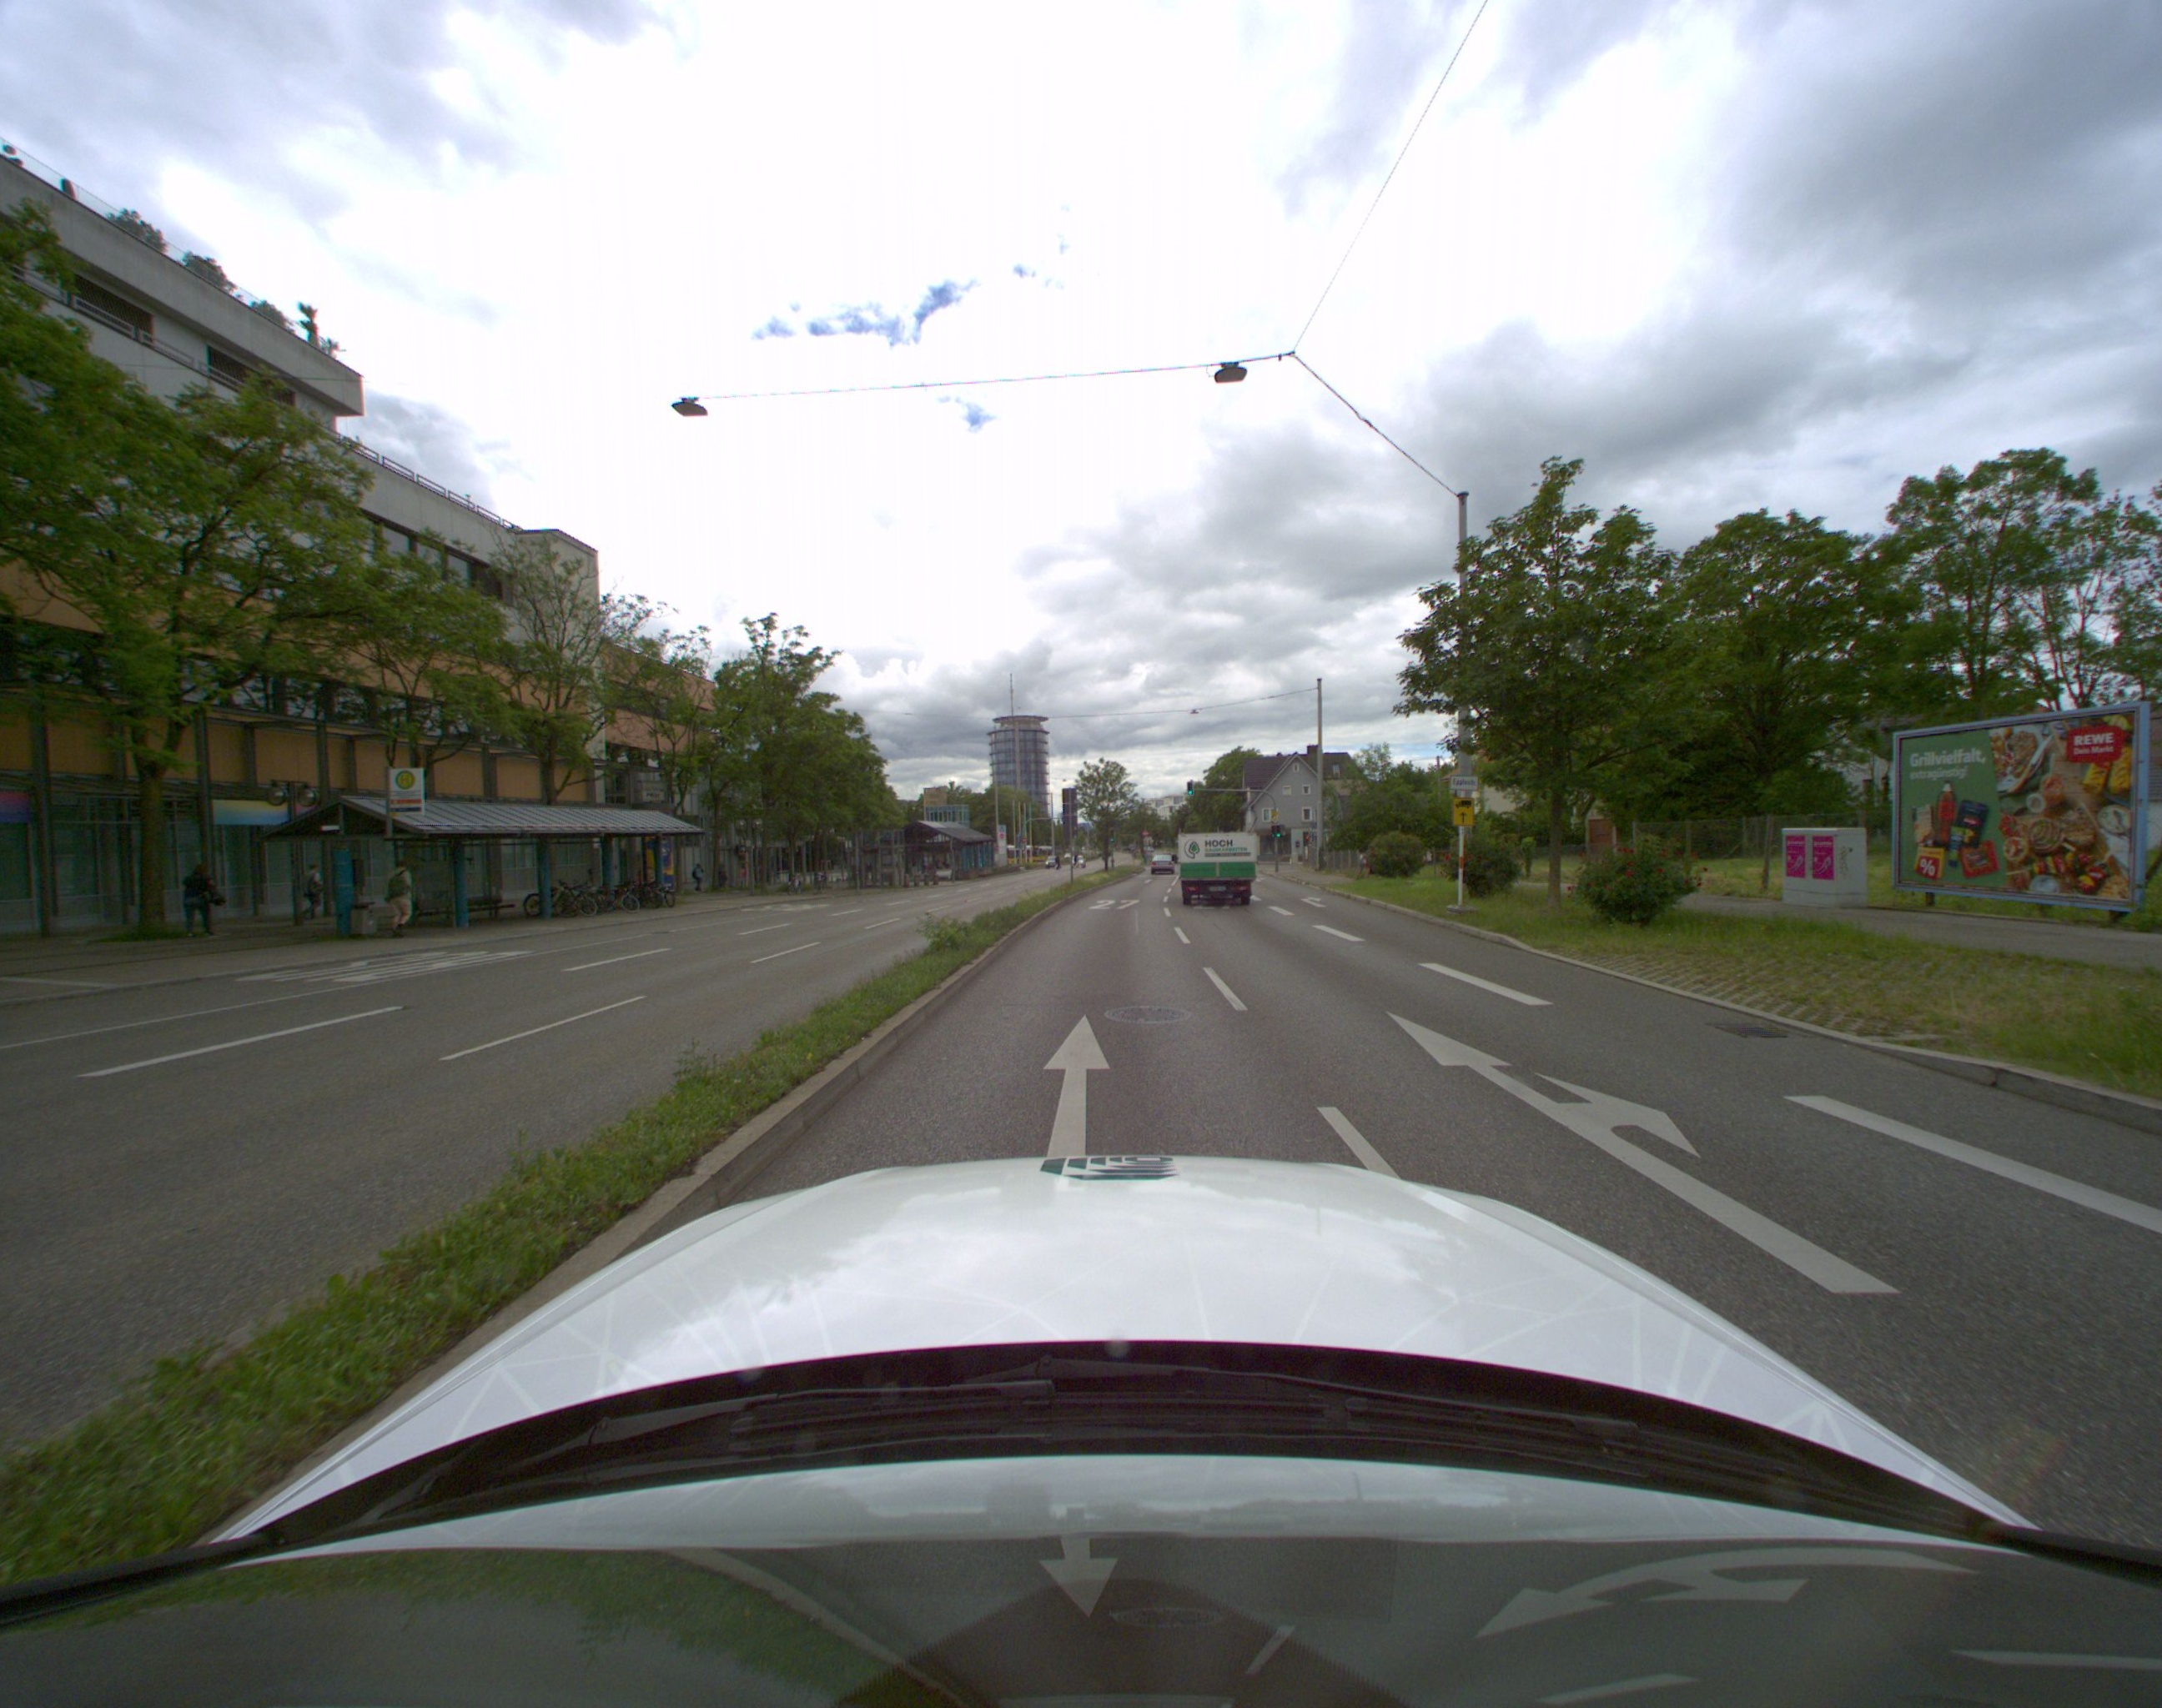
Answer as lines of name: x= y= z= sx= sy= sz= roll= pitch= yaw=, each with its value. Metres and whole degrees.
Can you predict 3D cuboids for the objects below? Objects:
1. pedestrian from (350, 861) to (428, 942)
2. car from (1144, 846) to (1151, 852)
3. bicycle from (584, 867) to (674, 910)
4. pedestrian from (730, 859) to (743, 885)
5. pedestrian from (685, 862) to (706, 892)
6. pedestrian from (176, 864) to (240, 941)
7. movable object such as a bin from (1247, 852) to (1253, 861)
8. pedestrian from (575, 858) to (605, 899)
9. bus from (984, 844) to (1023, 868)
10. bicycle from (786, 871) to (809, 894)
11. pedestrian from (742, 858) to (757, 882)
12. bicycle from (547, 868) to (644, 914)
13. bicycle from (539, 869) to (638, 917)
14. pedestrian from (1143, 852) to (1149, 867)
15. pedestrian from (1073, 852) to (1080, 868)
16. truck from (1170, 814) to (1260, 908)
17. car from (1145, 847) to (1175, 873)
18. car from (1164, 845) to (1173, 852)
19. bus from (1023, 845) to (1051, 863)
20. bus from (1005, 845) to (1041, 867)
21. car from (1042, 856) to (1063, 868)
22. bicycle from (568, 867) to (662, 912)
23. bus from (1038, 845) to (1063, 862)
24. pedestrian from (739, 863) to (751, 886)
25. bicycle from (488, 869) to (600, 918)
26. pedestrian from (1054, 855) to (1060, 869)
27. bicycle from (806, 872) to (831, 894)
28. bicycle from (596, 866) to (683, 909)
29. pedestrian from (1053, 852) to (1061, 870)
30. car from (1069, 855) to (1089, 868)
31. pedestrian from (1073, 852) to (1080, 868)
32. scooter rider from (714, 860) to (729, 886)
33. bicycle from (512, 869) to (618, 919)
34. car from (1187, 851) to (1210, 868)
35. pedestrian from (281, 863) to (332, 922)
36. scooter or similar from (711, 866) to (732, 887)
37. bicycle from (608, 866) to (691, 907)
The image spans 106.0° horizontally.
pedestrian: x=-16.161 y=1.074 z=19.053 sx=0.700 sy=1.822 sz=1.215 roll=0 pitch=-1 yaw=4
car: x=18.426 y=-1.475 z=224.949 sx=1.984 sy=1.519 sz=4.005 roll=-2 pitch=0 yaw=4
bicycle: x=-16.978 y=1.287 z=30.642 sx=2.890 sy=1.506 sz=0.778 roll=-2 pitch=0 yaw=-1
pedestrian: x=-24.155 y=1.260 z=57.026 sx=0.563 sy=1.727 sz=0.680 roll=-2 pitch=0 yaw=-1
pedestrian: x=-22.534 y=1.361 z=47.597 sx=0.768 sy=1.716 sz=0.886 roll=0 pitch=0 yaw=-1
pedestrian: x=-20.323 y=1.107 z=18.960 sx=0.766 sy=1.716 sz=0.791 roll=0 pitch=0 yaw=24
movable object such as a bin: x=18.830 y=0.255 z=90.833 sx=0.601 sy=1.059 sz=0.591 roll=0 pitch=0 yaw=9
pedestrian: x=-24.736 y=1.217 z=41.032 sx=0.893 sy=2.013 sz=0.934 roll=-2 pitch=0 yaw=2
bus: x=-11.700 y=0.223 z=124.192 sx=2.813 sy=3.430 sz=10.768 roll=-2 pitch=0 yaw=12
bicycle: x=-14.778 y=1.477 z=42.464 sx=0.713 sy=1.136 sz=1.952 roll=-2 pitch=0 yaw=-7
pedestrian: x=-22.255 y=1.089 z=54.697 sx=0.632 sy=1.586 sz=0.825 roll=-2 pitch=0 yaw=-2
bicycle: x=-17.339 y=1.305 z=29.136 sx=2.890 sy=1.506 sz=0.805 roll=-2 pitch=0 yaw=-1
bicycle: x=-17.004 y=1.336 z=28.167 sx=2.889 sy=1.506 sz=0.812 roll=-2 pitch=0 yaw=0
pedestrian: x=7.533 y=0.683 z=93.914 sx=0.581 sy=1.716 sz=0.546 roll=-2 pitch=-1 yaw=1
pedestrian: x=-0.481 y=0.666 z=91.376 sx=0.743 sy=1.716 sz=0.583 roll=-2 pitch=-1 yaw=1
truck: x=4.114 y=0.132 z=26.135 sx=2.458 sy=2.611 sz=6.560 roll=-1 pitch=1 yaw=6
car: x=5.741 y=0.401 z=58.768 sx=1.982 sy=1.830 sz=4.009 roll=0 pitch=0 yaw=8
car: x=21.214 y=-1.332 z=196.556 sx=1.984 sy=1.519 sz=4.005 roll=-2 pitch=0 yaw=4
bus: x=-8.823 y=0.042 z=166.054 sx=2.813 sy=3.430 sz=10.768 roll=-2 pitch=0 yaw=12
bus: x=-9.429 y=0.353 z=134.062 sx=2.813 sy=3.430 sz=10.768 roll=-2 pitch=0 yaw=12
car: x=-3.483 y=0.981 z=101.578 sx=1.983 sy=1.486 sz=4.007 roll=-2 pitch=0 yaw=6
bicycle: x=-16.980 y=1.298 z=29.741 sx=2.890 sy=1.506 sz=0.805 roll=-2 pitch=0 yaw=-1
bus: x=-6.601 y=-0.080 z=176.618 sx=2.813 sy=3.430 sz=10.768 roll=-2 pitch=0 yaw=12
pedestrian: x=-23.522 y=1.449 z=57.084 sx=0.515 sy=1.589 sz=0.680 roll=-2 pitch=0 yaw=-1
bicycle: x=-17.171 y=1.260 z=26.082 sx=2.890 sy=1.506 sz=0.972 roll=0 pitch=0 yaw=-1
pedestrian: x=-2.733 y=0.909 z=91.904 sx=0.540 sy=1.496 sz=0.487 roll=-2 pitch=-1 yaw=4
bicycle: x=-13.669 y=1.495 z=42.486 sx=0.829 sy=1.083 sz=1.932 roll=-2 pitch=0 yaw=-6
bicycle: x=-17.045 y=1.284 z=31.457 sx=2.890 sy=1.506 sz=0.700 roll=-2 pitch=0 yaw=-1
pedestrian: x=-2.650 y=0.775 z=91.159 sx=0.827 sy=2.013 sz=0.546 roll=-2 pitch=-1 yaw=1
car: x=-0.257 y=0.962 z=100.805 sx=1.983 sy=1.486 sz=4.007 roll=-2 pitch=0 yaw=6
pedestrian: x=-0.478 y=0.650 z=90.724 sx=0.651 sy=1.716 sz=0.452 roll=-2 pitch=-1 yaw=1
scooter rider: x=-21.713 y=1.146 z=49.165 sx=0.521 sy=1.545 sz=0.709 roll=0 pitch=0 yaw=10
bicycle: x=-17.148 y=1.324 z=27.128 sx=2.890 sy=1.506 sz=0.891 roll=-2 pitch=0 yaw=-1
car: x=10.780 y=0.501 z=74.801 sx=1.982 sy=1.552 sz=4.009 roll=-1 pitch=0 yaw=8
pedestrian: x=-23.181 y=1.145 z=24.385 sx=0.768 sy=1.716 sz=0.789 roll=0 pitch=0 yaw=-1
scooter or similar: x=-21.718 y=1.356 z=49.185 sx=0.477 sy=1.267 sz=1.292 roll=0 pitch=0 yaw=10
bicycle: x=-16.987 y=1.278 z=32.077 sx=2.890 sy=1.506 sz=0.598 roll=-2 pitch=0 yaw=-1
